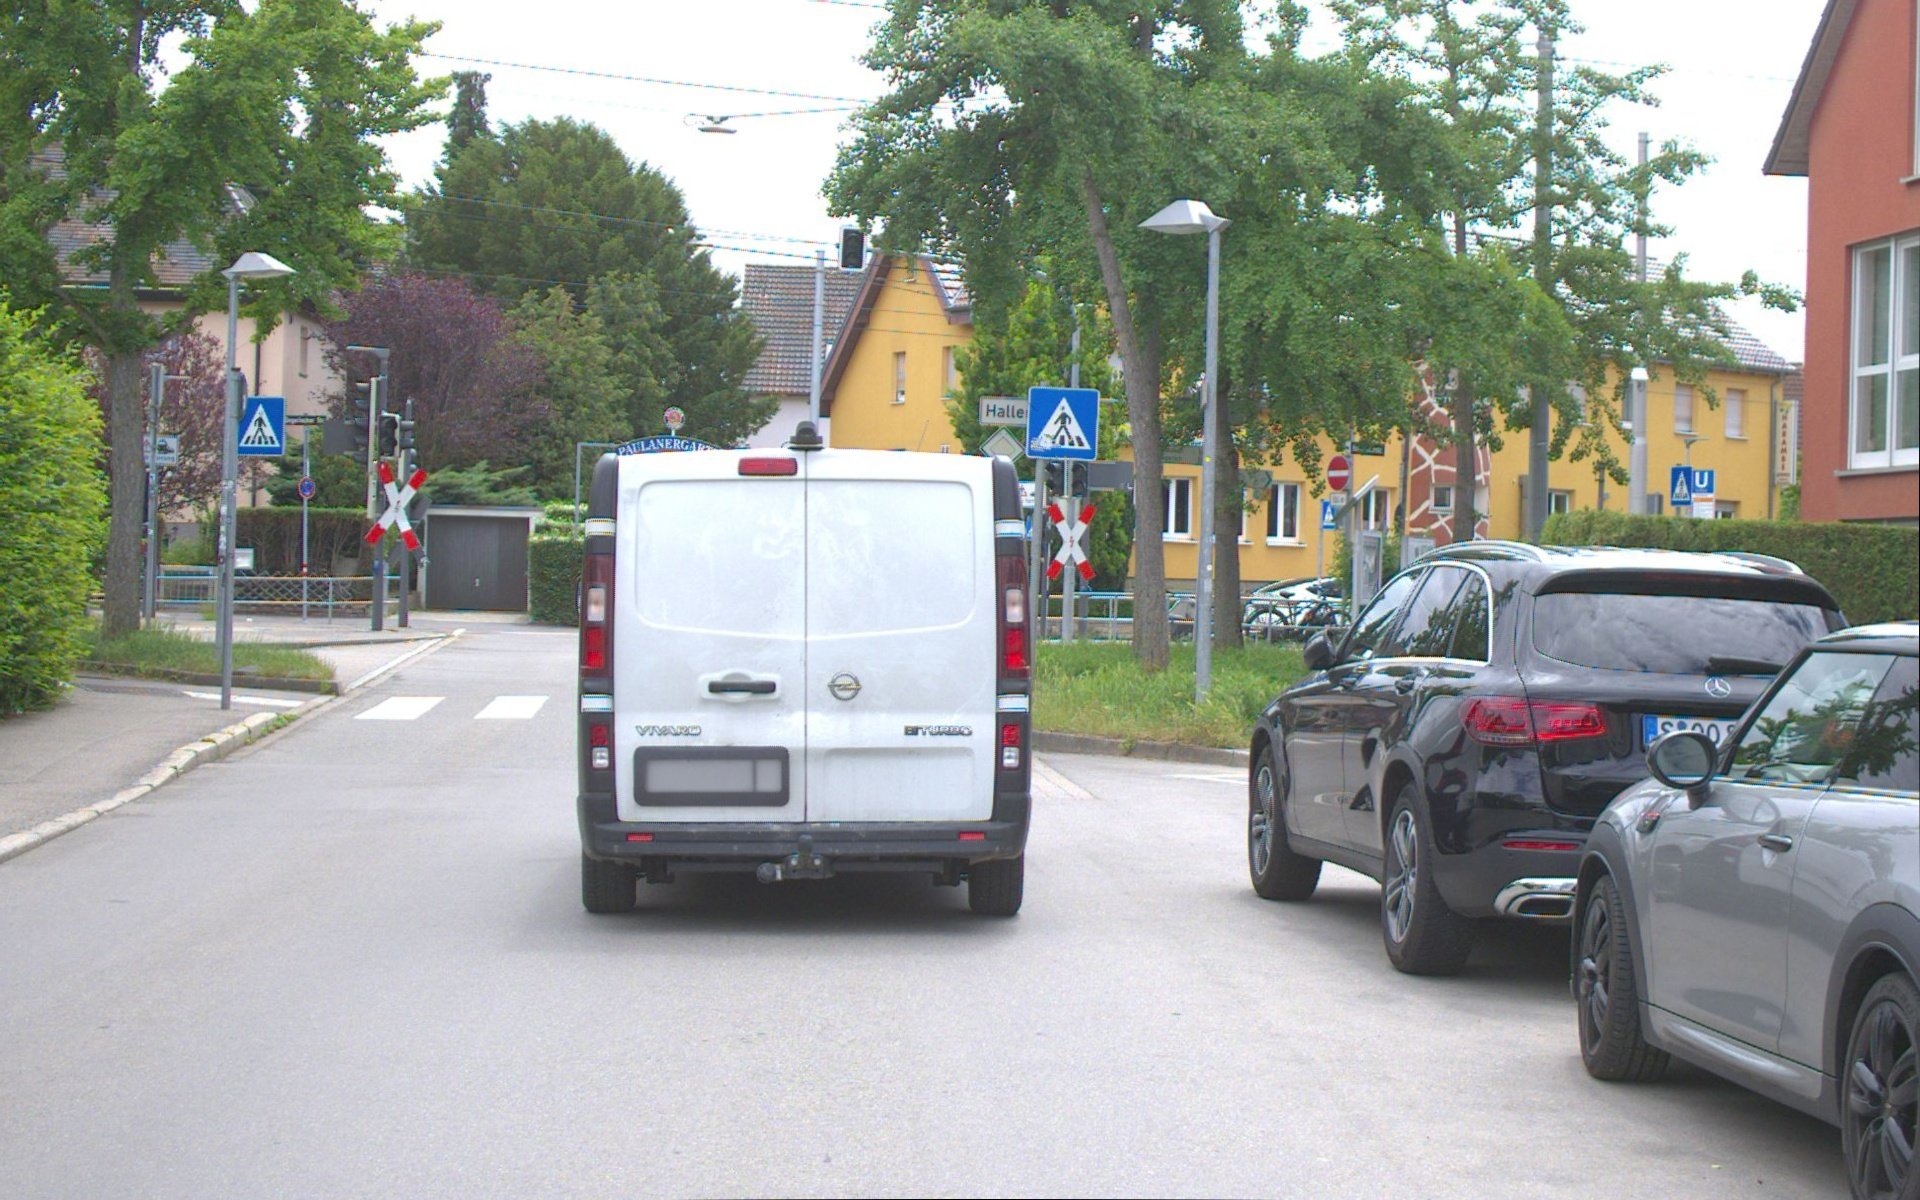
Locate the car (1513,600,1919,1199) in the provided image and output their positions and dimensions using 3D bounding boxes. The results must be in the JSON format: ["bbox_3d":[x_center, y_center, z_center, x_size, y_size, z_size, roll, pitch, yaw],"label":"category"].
[{"bbox_3d":[2.794,0.796,9.008,1.741,1.489,3.656,3,0,-5],"label":"car"}]

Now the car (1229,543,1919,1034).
[{"bbox_3d":[2.331,0.637,14.028,1.702,1.609,4.259,3,0,-5],"label":"car"}]

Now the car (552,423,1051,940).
[{"bbox_3d":[-0.781,0.276,15.616,1.915,1.996,4.438,1,1,-4],"label":"car"}]

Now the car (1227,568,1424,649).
[{"bbox_3d":[8.103,0.195,76.180,3.919,1.531,1.920,4,0,-33],"label":"car"}]
